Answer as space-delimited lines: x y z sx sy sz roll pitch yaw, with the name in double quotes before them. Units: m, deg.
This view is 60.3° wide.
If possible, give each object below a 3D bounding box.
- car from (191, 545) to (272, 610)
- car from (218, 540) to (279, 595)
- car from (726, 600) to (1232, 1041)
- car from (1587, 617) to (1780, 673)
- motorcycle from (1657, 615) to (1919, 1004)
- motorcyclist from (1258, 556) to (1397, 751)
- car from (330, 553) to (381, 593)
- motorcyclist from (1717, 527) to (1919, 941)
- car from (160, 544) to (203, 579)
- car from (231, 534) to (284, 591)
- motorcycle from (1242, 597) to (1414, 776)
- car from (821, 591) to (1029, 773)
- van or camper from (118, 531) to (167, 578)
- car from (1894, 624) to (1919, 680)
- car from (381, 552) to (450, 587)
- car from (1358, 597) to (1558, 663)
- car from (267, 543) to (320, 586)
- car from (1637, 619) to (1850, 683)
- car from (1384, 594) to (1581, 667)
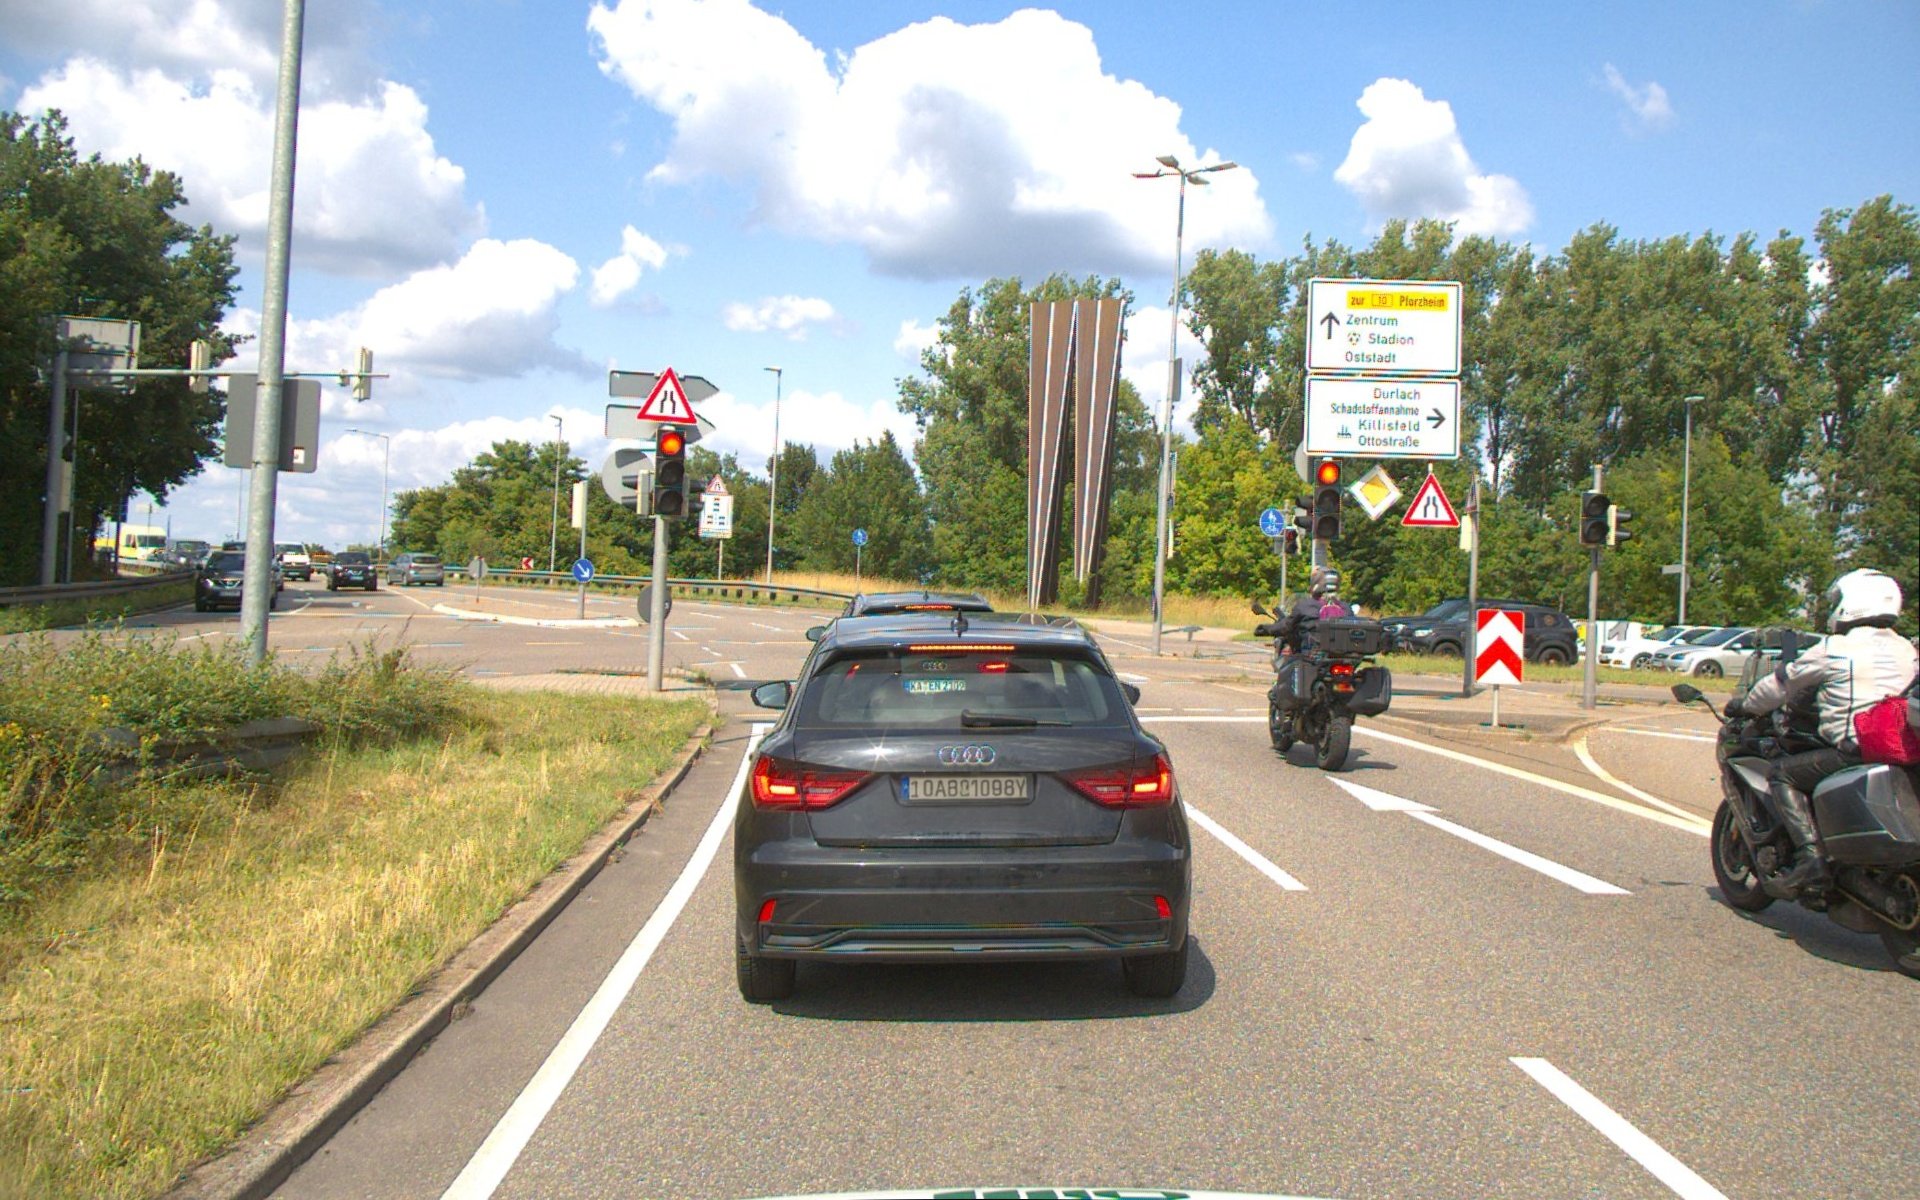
"car" -19.884 -0.565 45.259 1.813 1.646 3.974 2 -1 -21
"car" -25.373 -1.140 59.102 1.817 1.833 4.299 2 0 -22
"car" 0.036 0.737 7.534 1.691 1.429 3.999 0 1 -1
"car" 19.336 1.196 44.285 4.404 1.304 1.736 2 0 -4
"motorcycle" 4.041 0.811 7.316 0.848 1.413 2.370 2 1 -1
"motorcyclist" 3.187 0.447 14.428 0.918 1.618 1.083 2 0 -1
"car" -24.796 -1.116 67.778 1.708 1.522 4.018 2 0 -23
"motorcyclist" 4.050 0.567 7.411 0.848 1.730 0.894 2 0 -1
"car" -42.137 -2.082 89.502 1.823 1.735 4.286 2 0 -29
"car" -28.218 -1.488 66.403 1.819 2.137 4.293 2 0 -24
"motorcycle" 3.176 0.697 14.557 0.918 1.407 2.369 2 0 -1
"car" -0.437 0.652 15.328 1.692 1.448 3.841 0 1 -5
"van or camper" -50.372 -2.783 101.846 1.974 2.730 6.788 2 0 -32
"car" 27.932 1.486 44.982 4.141 1.502 1.736 2 0 -4
"car" -25.743 -1.457 78.102 1.977 1.522 4.070 2 0 -35
"car" 13.188 0.782 43.930 4.750 1.572 1.736 2 0 -2
"car" -33.888 -1.809 84.038 1.972 2.049 4.427 2 0 -29
"car" 19.067 1.230 40.346 4.384 1.343 1.735 2 0 -4
"car" 12.605 0.723 40.068 4.182 1.572 1.736 2 0 -2
